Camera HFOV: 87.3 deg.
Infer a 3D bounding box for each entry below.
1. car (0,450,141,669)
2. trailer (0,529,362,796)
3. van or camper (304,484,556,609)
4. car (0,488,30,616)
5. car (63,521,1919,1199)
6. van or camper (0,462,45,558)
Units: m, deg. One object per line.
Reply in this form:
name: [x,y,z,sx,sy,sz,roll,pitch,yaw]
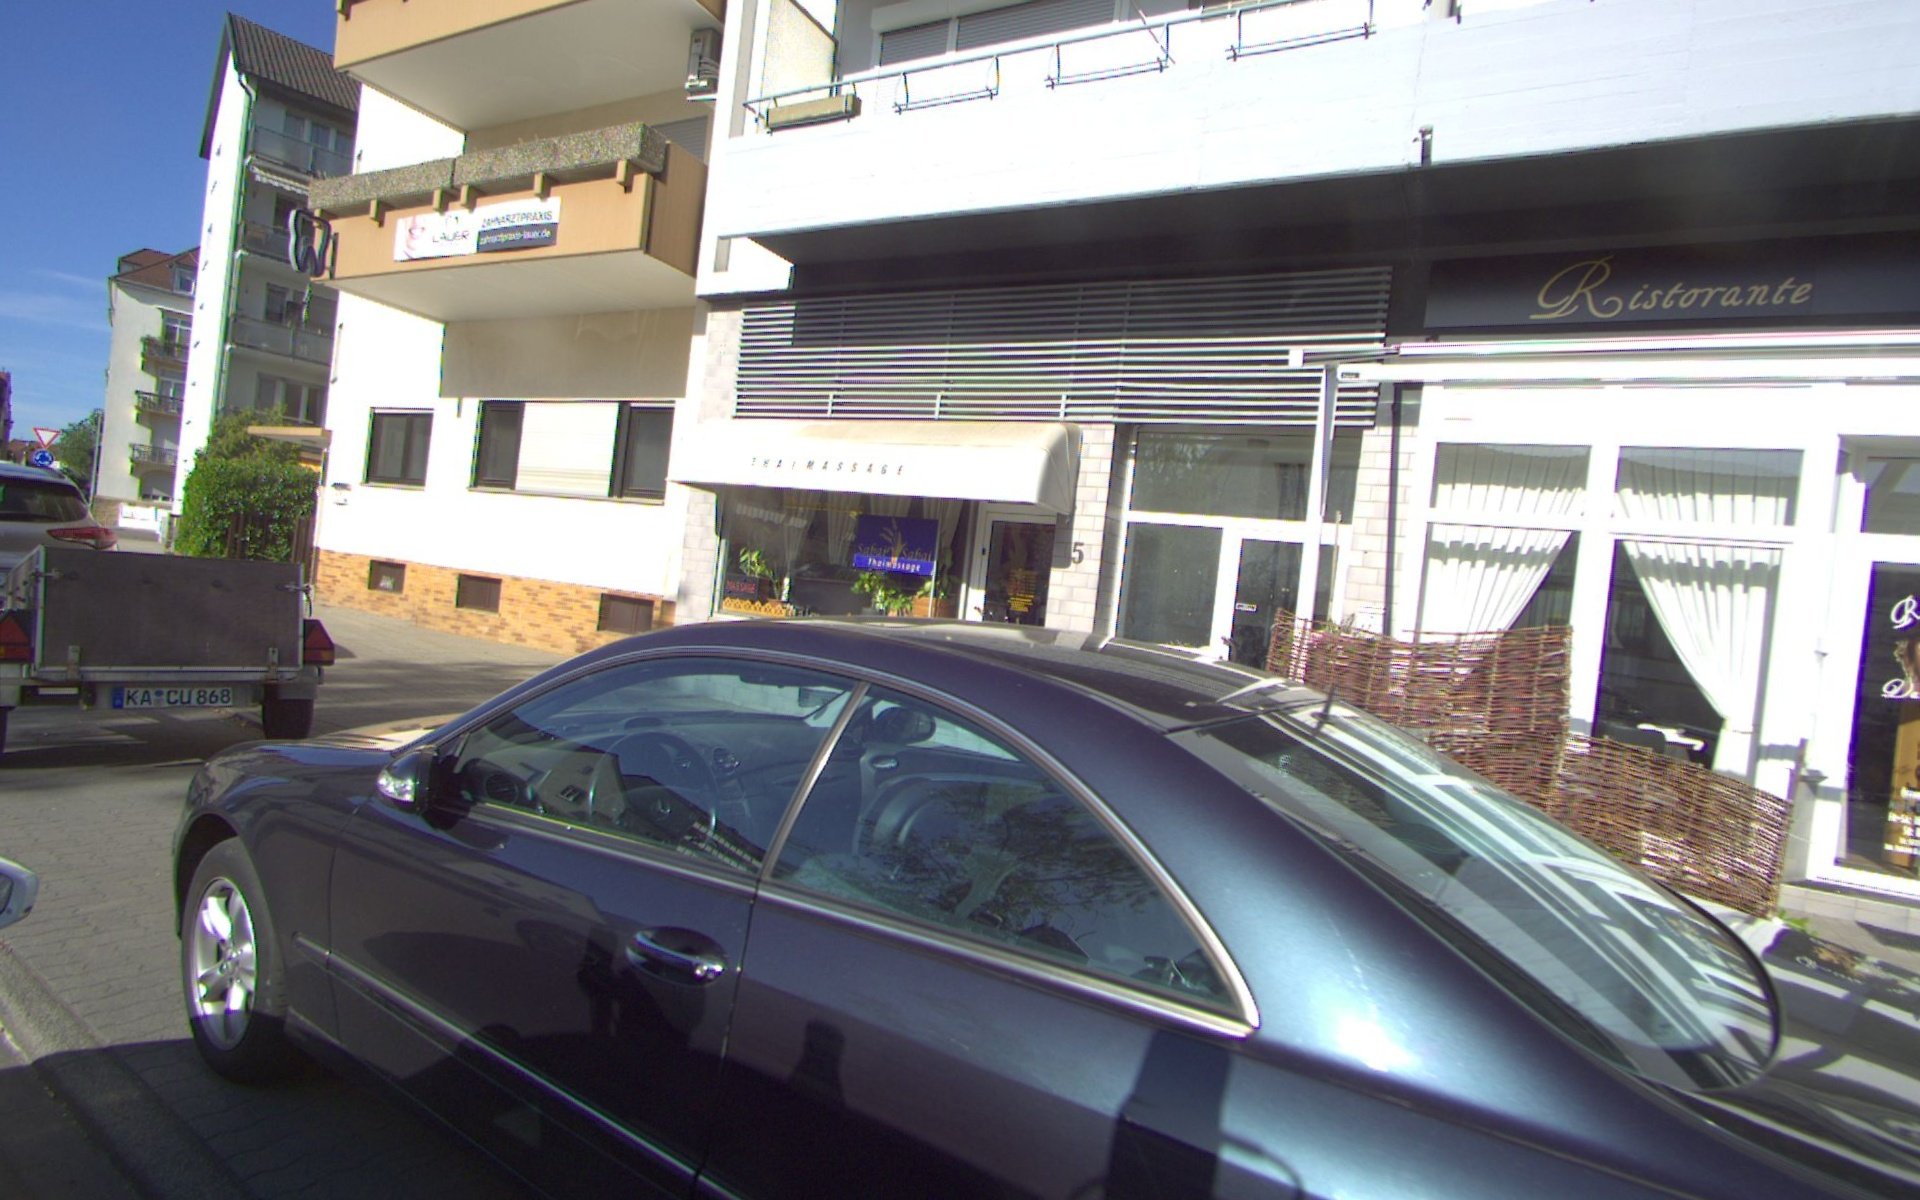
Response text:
car: [-9.266,-0.429,9.167,4.495,1.673,1.816,3,-2,39]
trailer: [-5.071,0.266,6.093,2.902,1.192,1.601,6,-1,41]
van or camper: [-12.684,-1.227,24.272,4.941,2.317,1.833,7,1,-41]
car: [-12.848,-0.753,12.193,4.251,1.427,1.714,7,2,39]
car: [-0.228,0.756,2.516,4.927,1.468,1.971,6,-1,37]
van or camper: [-22.049,-2.108,22.447,2.009,1.973,4.652,4,1,-38]
